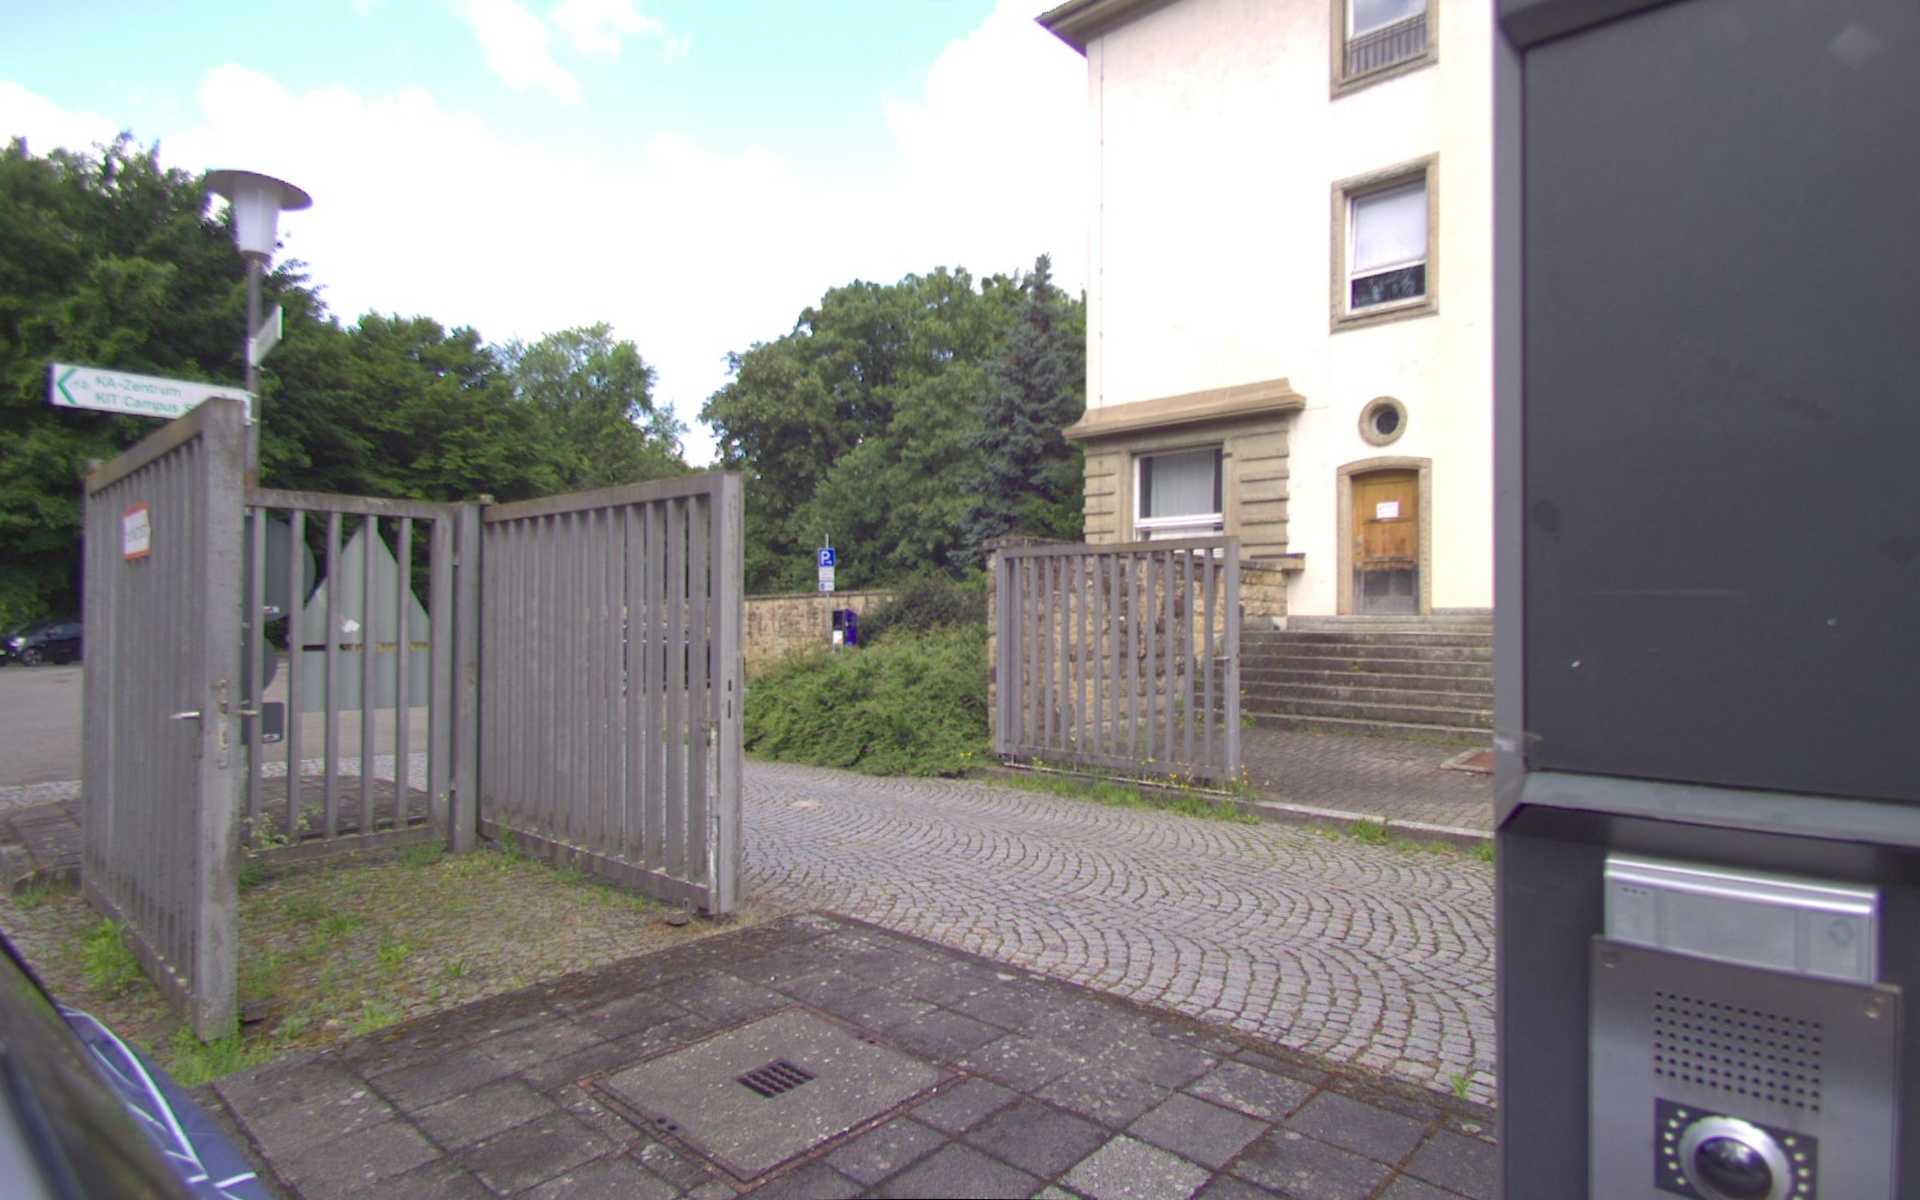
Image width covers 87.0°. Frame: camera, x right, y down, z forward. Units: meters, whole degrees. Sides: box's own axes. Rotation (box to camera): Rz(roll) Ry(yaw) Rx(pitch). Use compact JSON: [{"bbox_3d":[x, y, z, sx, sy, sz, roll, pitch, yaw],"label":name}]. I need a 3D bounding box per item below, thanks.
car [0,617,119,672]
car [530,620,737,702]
[{"bbox_3d":[-30.476,1.438,33.234,1.981,1.697,3.981,0,-2,15],"label":"car"},{"bbox_3d":[-7.192,1.288,22.506,1.900,1.558,3.942,-2,-1,44],"label":"car"}]
